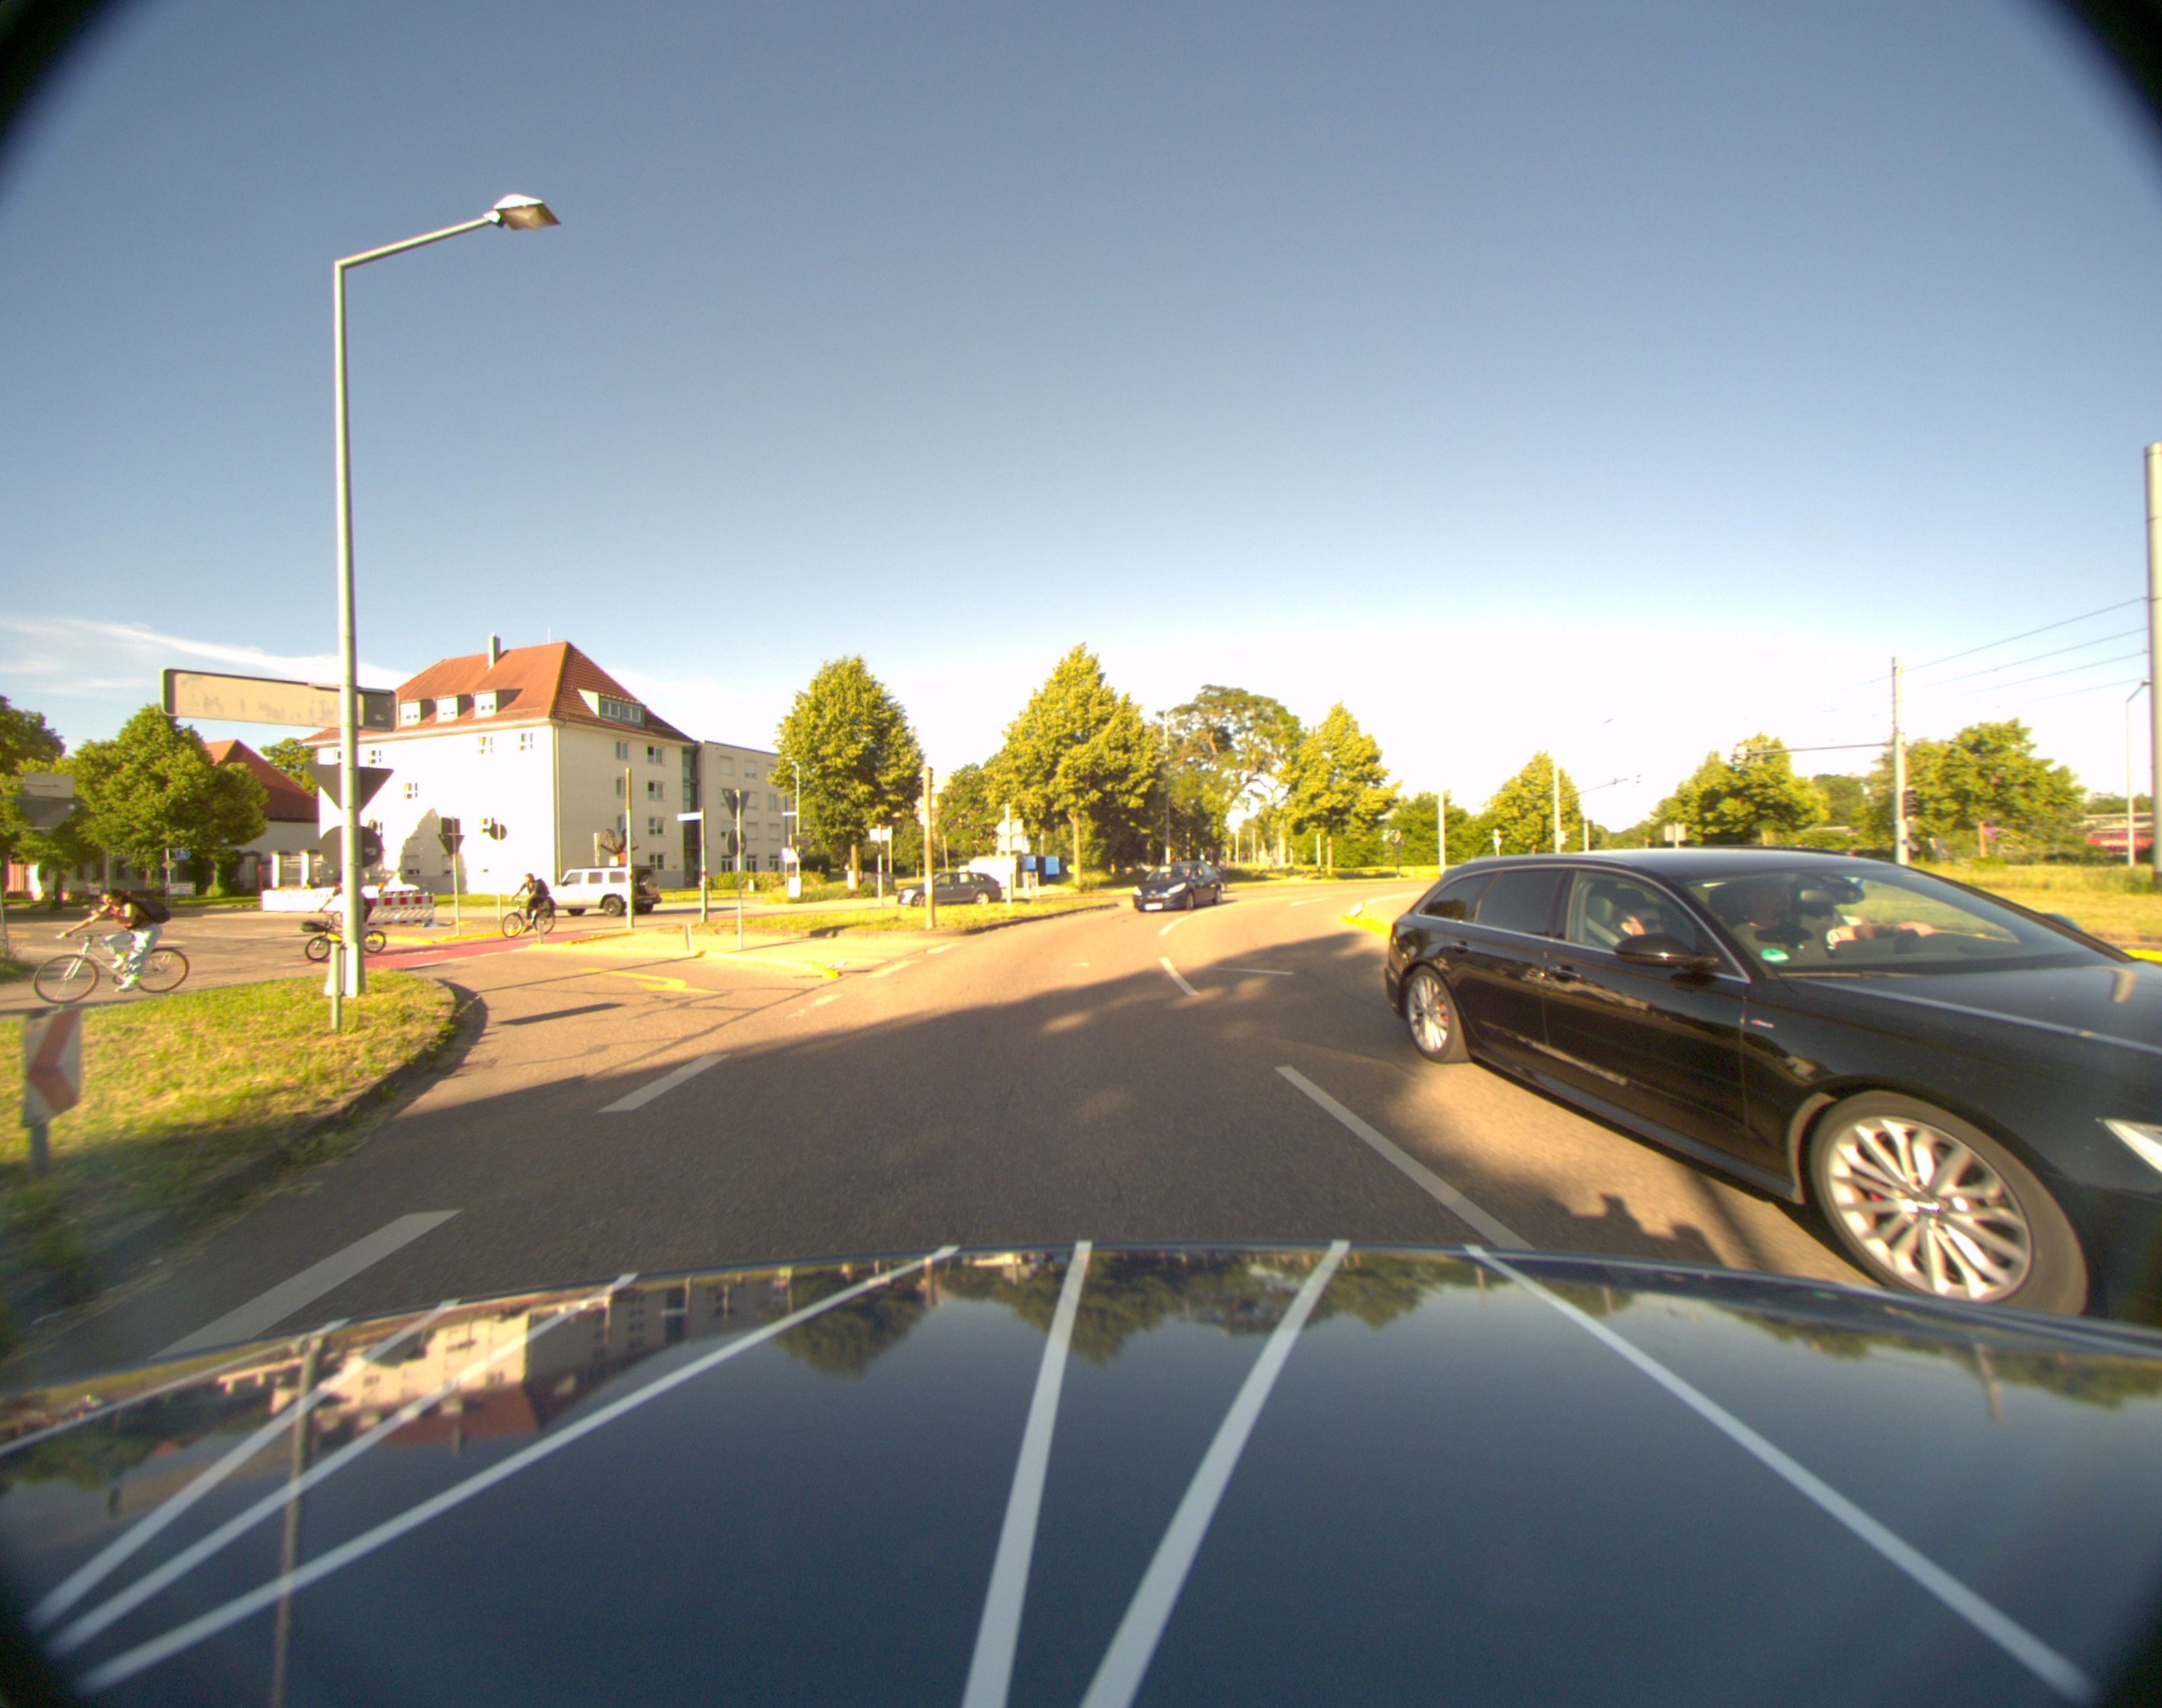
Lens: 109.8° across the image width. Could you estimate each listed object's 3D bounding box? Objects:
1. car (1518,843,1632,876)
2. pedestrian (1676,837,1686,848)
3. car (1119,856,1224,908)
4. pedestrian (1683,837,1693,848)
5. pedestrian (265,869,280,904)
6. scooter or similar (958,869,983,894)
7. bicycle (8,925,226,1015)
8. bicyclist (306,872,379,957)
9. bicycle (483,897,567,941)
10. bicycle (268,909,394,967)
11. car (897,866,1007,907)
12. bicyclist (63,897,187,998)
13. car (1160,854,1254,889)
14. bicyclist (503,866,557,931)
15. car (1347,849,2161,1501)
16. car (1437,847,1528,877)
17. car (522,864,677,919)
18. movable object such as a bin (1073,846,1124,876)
[{"bbox_3d":[24.017,0.285,36.996,4.537,1.371,1.936,-2,-2,-11],"label":"car"},{"bbox_3d":[79.417,-1.522,100.590,0.795,1.432,0.685,-1,0,-27],"label":"pedestrian"},{"bbox_3d":[2.936,0.826,23.919,1.754,1.445,4.008,-3,-1,31],"label":"car"},{"bbox_3d":[79.542,-1.545,99.544,0.795,1.432,0.685,-1,0,-27],"label":"pedestrian"},{"bbox_3d":[-47.107,1.869,44.264,0.454,2.002,0.472,-1,0,27],"label":"pedestrian"},{"bbox_3d":[-5.777,1.441,39.846,0.443,1.240,1.267,-4,-1,40],"label":"scooter or similar"},{"bbox_3d":[-13.931,1.637,11.073,0.659,1.021,1.826,-2,0,15],"label":"bicycle"},{"bbox_3d":[-15.584,1.262,16.044,0.654,1.720,0.813,-2,1,8],"label":"bicyclist"},{"bbox_3d":[-14.561,1.686,19.975,0.659,1.021,1.825,-3,-1,8],"label":"bicycle"},{"bbox_3d":[-15.593,1.715,15.872,0.659,1.021,1.825,-3,-1,7],"label":"bicycle"},{"bbox_3d":[-5.280,1.295,31.015,4.155,1.427,1.717,-2,0,-19],"label":"car"},{"bbox_3d":[-13.918,1.326,11.085,0.659,1.376,0.936,-1,-1,15],"label":"bicyclist"},{"bbox_3d":[6.101,0.813,36.479,4.553,1.459,1.634,-2,0,-35],"label":"car"},{"bbox_3d":[-14.581,1.154,20.109,0.659,1.655,0.900,-3,-1,9],"label":"bicyclist"},{"bbox_3d":[3.252,0.742,3.791,1.797,1.435,5.015,-3,0,-3],"label":"car"},{"bbox_3d":[21.578,0.434,40.892,4.069,1.371,1.724,-2,-2,-10],"label":"car"},{"bbox_3d":[-18.605,1.411,29.470,4.747,1.886,2.004,-2,0,5],"label":"car"},{"bbox_3d":[1.819,0.734,79.292,5.041,2.771,2.002,-3,-1,7],"label":"movable object such as a bin"}]
